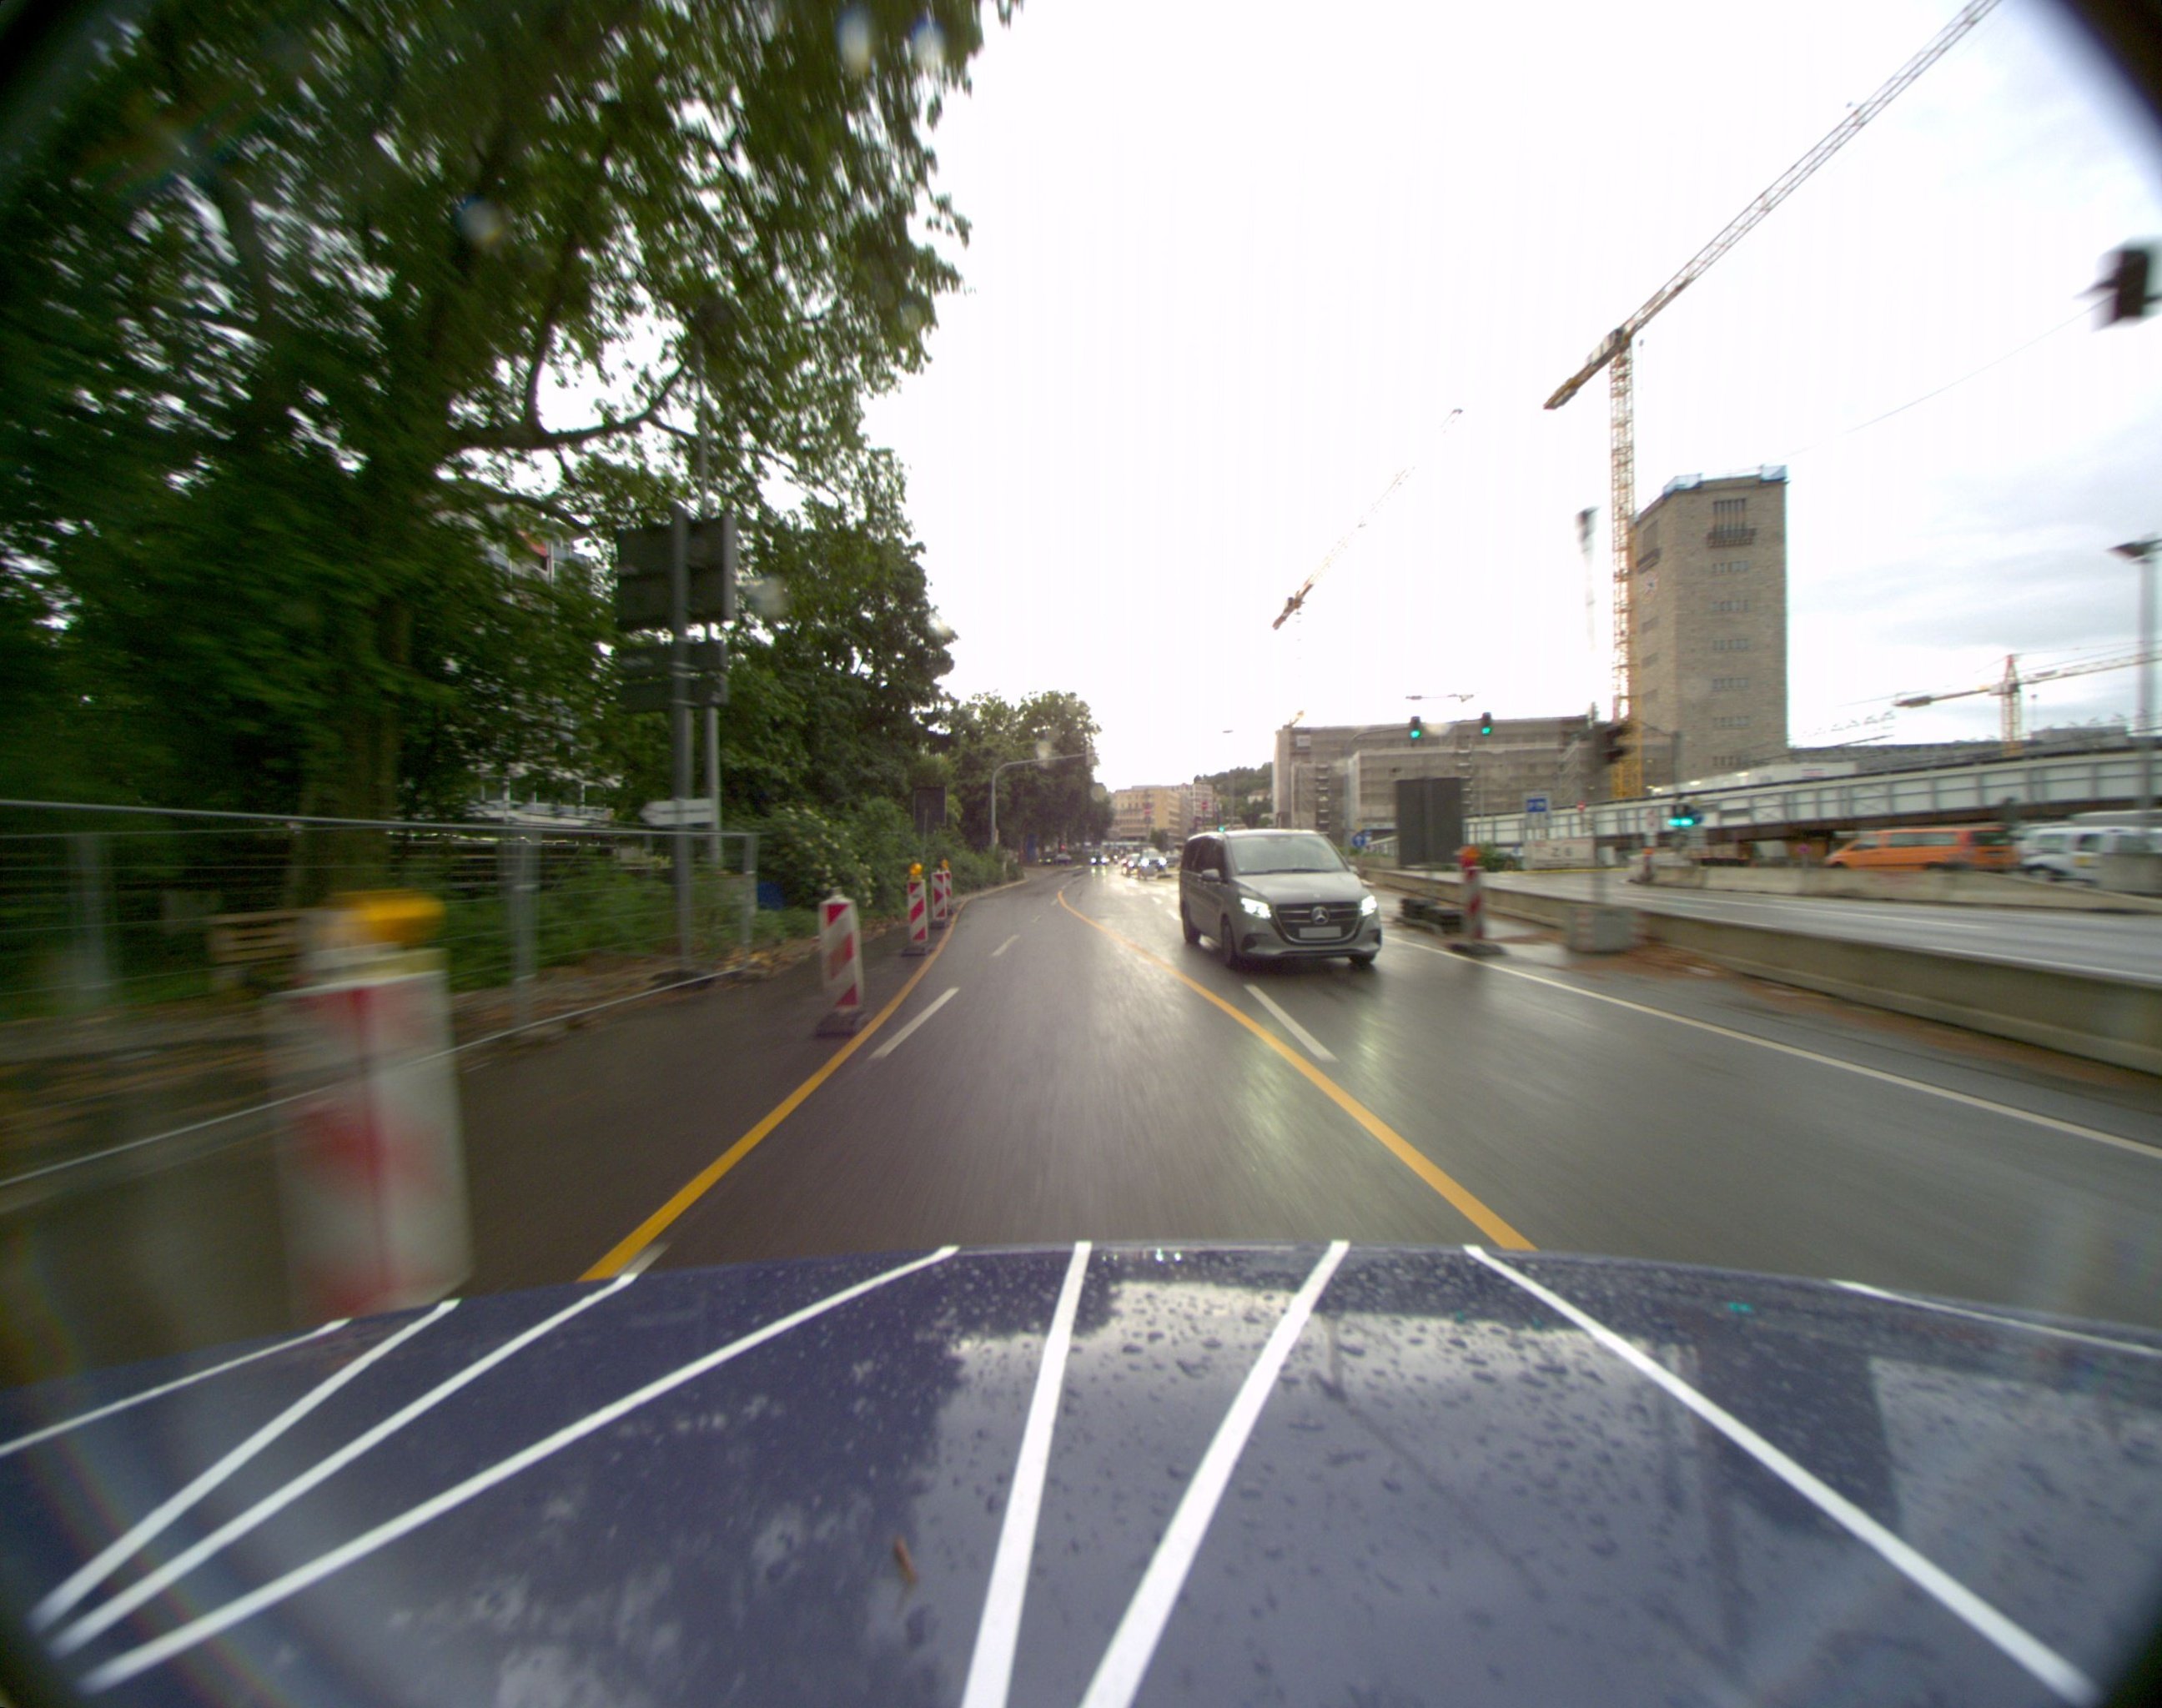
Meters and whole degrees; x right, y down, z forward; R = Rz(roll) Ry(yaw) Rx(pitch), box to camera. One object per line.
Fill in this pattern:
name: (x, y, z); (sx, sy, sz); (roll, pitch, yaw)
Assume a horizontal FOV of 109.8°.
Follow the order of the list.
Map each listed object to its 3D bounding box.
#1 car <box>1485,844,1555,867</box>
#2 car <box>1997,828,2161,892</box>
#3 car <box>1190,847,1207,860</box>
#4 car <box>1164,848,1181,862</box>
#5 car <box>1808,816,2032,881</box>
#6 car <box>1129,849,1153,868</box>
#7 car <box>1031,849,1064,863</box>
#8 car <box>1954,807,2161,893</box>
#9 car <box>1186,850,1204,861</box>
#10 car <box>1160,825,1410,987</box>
car: (39.186, 0.152, 67.964); (2.003, 2.002, 5.013); (0, 0, -32)
car: (30.285, 0.149, 22.004); (1.849, 1.751, 4.798); (0, 1, 3)
car: (15.063, -0.107, 97.362); (1.831, 1.643, 4.575); (0, 0, 4)
car: (11.820, 0.078, 98.203); (1.998, 1.804, 4.294); (0, 1, 5)
car: (30.436, -0.212, 27.931); (1.998, 2.088, 5.581); (2, 1, 0)
car: (5.622, 0.405, 70.921); (1.811, 1.455, 4.921); (10, 2, 6)
car: (-4.316, 0.246, 97.379); (3.995, 1.753, 2.001); (0, 1, 5)
car: (39.315, -0.173, 30.161); (2.279, 3.048, 6.169); (0, 1, 2)
car: (15.570, 0.191, 103.846); (2.171, 1.564, 4.001); (0, 0, 5)
car: (2.703, 0.627, 11.646); (1.999, 1.845, 5.356); (-2, 0, -4)
